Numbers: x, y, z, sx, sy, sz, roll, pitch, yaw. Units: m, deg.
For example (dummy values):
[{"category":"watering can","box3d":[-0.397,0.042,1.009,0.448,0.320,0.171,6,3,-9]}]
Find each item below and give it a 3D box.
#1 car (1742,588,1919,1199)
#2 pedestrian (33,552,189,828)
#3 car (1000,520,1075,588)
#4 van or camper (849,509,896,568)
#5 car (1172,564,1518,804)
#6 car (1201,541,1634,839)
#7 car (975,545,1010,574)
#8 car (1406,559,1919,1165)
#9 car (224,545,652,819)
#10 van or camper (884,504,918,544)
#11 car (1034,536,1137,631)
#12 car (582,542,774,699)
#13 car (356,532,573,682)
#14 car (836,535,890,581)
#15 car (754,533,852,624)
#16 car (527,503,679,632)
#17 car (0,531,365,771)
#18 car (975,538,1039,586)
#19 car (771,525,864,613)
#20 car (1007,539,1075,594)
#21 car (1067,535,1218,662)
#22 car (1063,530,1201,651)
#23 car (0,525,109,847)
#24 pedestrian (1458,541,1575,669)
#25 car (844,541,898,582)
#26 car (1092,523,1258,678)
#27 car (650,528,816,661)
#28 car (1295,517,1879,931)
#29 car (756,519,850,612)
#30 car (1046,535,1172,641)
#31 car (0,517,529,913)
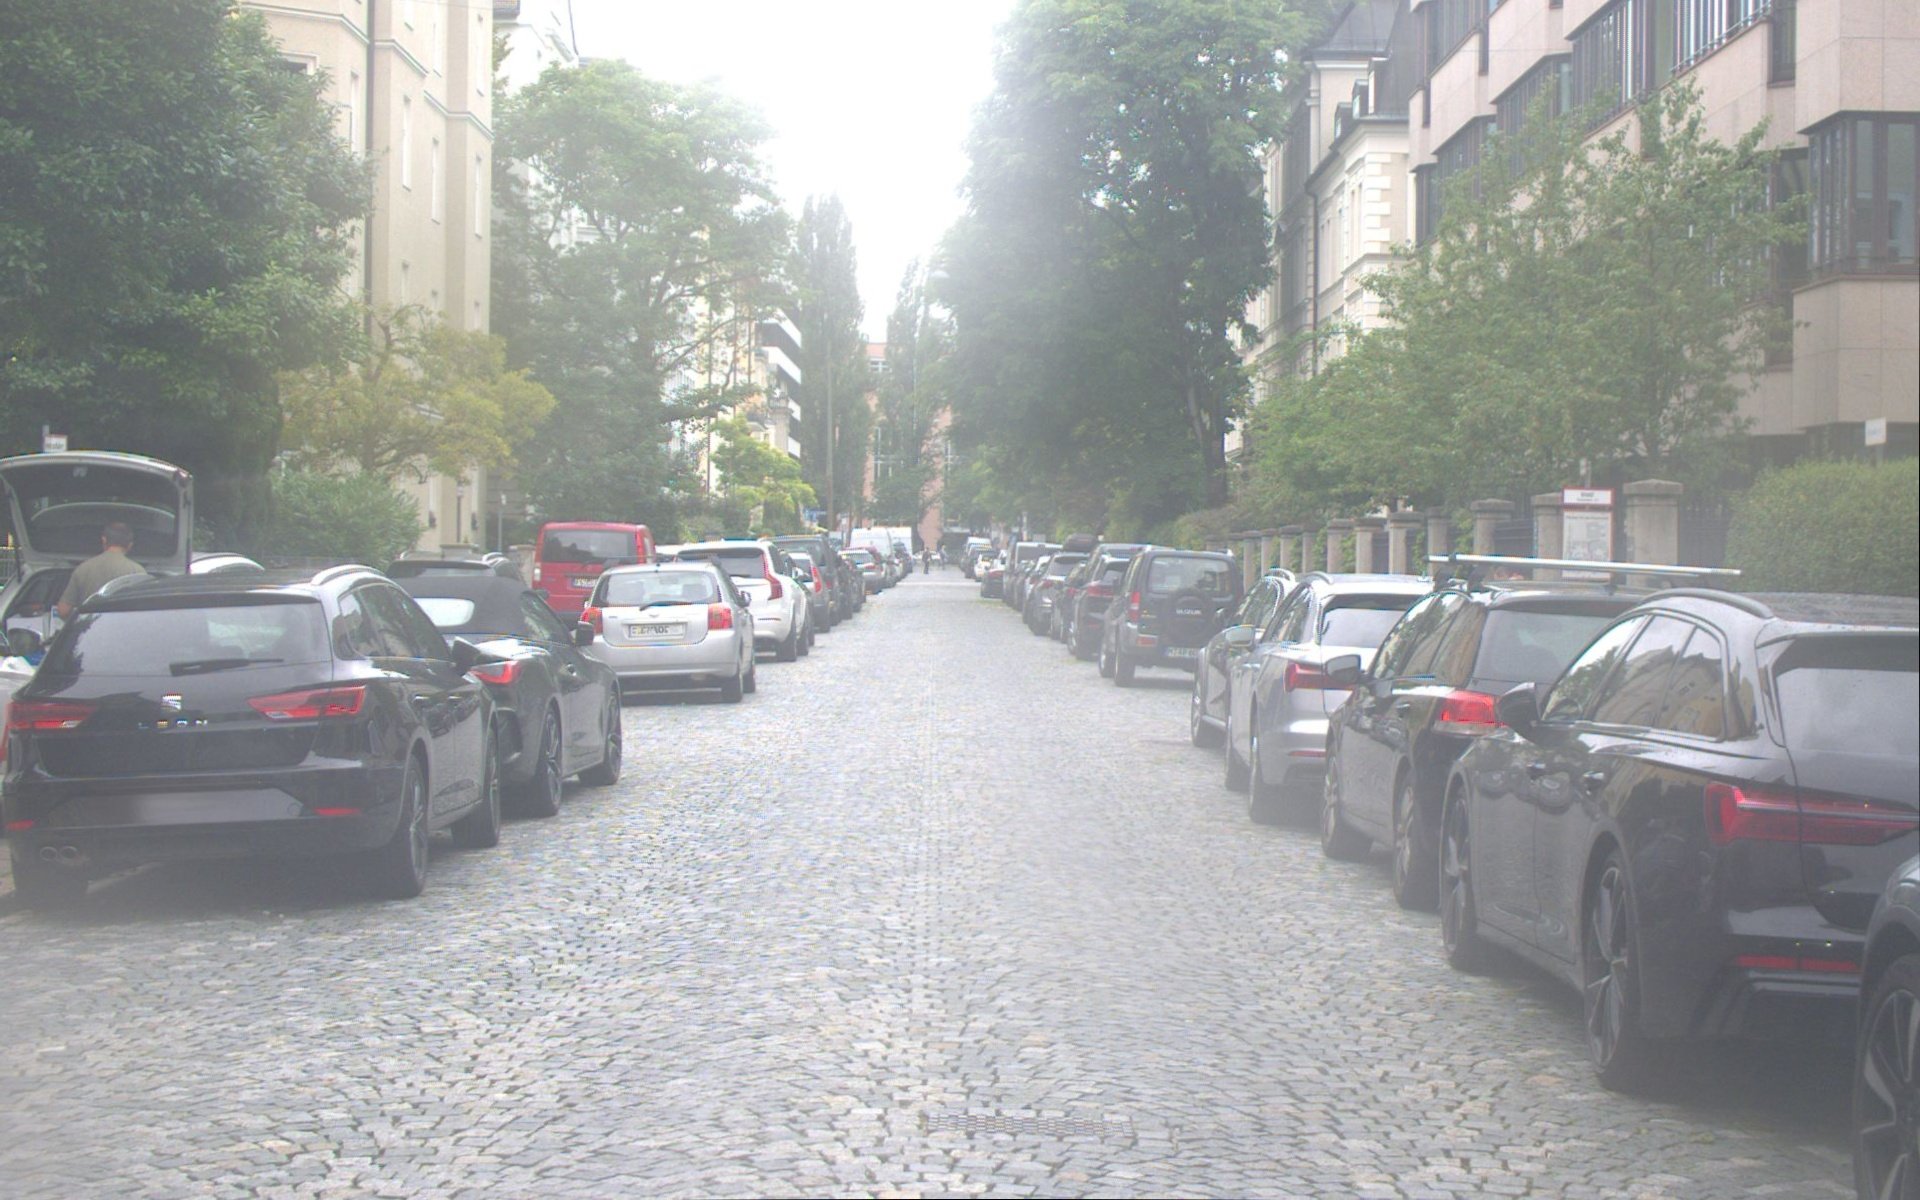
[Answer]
[{"category":"car","box3d":[2.905,0.798,6.071,1.882,1.483,4.814,3,1,0]},{"category":"pedestrian","box3d":[-5.180,0.541,21.007,0.766,1.644,0.582,1,1,1]},{"category":"car","box3d":[2.360,-1.430,106.211,1.873,1.921,5.165,3,1,-2]},{"category":"van or camper","box3d":[-4.034,-2.849,158.992,1.993,2.643,4.000,-2,1,0]},{"category":"car","box3d":[2.850,0.562,26.570,1.993,1.546,5.015,3,1,0]},{"category":"car","box3d":[2.681,0.454,21.333,1.993,1.546,4.986,2,1,0]},{"category":"car","box3d":[1.676,-2.126,179.903,1.790,1.515,4.000,1,1,0]},{"category":"car","box3d":[2.729,0.668,11.205,1.819,1.483,5.050,4,1,0]},{"category":"car","box3d":[-3.083,0.416,21.304,1.814,1.450,4.913,-2,1,1]},{"category":"van or camper","box3d":[-4.163,-5.354,243.605,2.256,2.733,5.098,2,1,0]},{"category":"car","box3d":[2.436,-0.348,67.770,1.873,1.729,4.892,3,1,1]},{"category":"car","box3d":[-2.973,0.172,37.030,1.713,1.557,4.391,-1,1,0]},{"category":"car","box3d":[-5.474,0.035,38.510,1.715,1.492,4.722,3,1,0]},{"category":"car","box3d":[-3.590,-1.563,126.466,1.873,1.574,4.256,-2,1,-2]},{"category":"car","box3d":[-3.198,-0.461,69.868,1.865,1.729,4.404,-2,1,-3]},{"category":"car","box3d":[-5.755,-0.543,55.996,1.994,1.924,5.331,2,1,-1]},{"category":"car","box3d":[-5.366,0.275,23.352,1.776,1.412,4.561,2,1,1]},{"category":"car","box3d":[1.611,-1.322,118.208,1.873,1.498,4.512,3,1,-2]},{"category":"car","box3d":[-3.346,-0.754,81.416,1.993,1.910,5.178,-3,1,-1]},{"category":"car","box3d":[2.340,-0.996,100.505,1.837,1.485,4.421,3,1,1]},{"category":"car","box3d":[2.670,-0.063,51.221,1.860,1.696,4.813,4,1,0]},{"category":"car","box3d":[2.783,-0.186,56.662,1.788,1.790,4.510,4,1,-2]},{"category":"car","box3d":[-5.419,0.382,16.194,1.739,1.531,4.467,2,1,-1]},{"category":"pedestrian","box3d":[6.675,0.048,41.278,1.217,1.488,1.129,-2,1,2]},{"category":"car","box3d":[-3.717,-1.615,144.060,1.873,1.574,4.208,3,1,3]},{"category":"car","box3d":[2.629,-0.027,42.744,1.618,1.745,3.887,3,1,-2]},{"category":"car","box3d":[-3.261,-0.115,50.398,2.006,1.803,5.174,-1,1,1]},{"category":"car","box3d":[2.811,0.484,16.407,1.893,1.648,4.294,2,1,-1]},{"category":"car","box3d":[-3.388,-0.762,75.007,1.873,1.910,4.828,-2,1,-1]},{"category":"car","box3d":[2.680,-0.249,62.684,1.873,1.729,4.659,4,1,-1]},{"category":"car","box3d":[-3.171,0.439,16.310,1.739,1.598,4.537,-1,1,-1]}]
